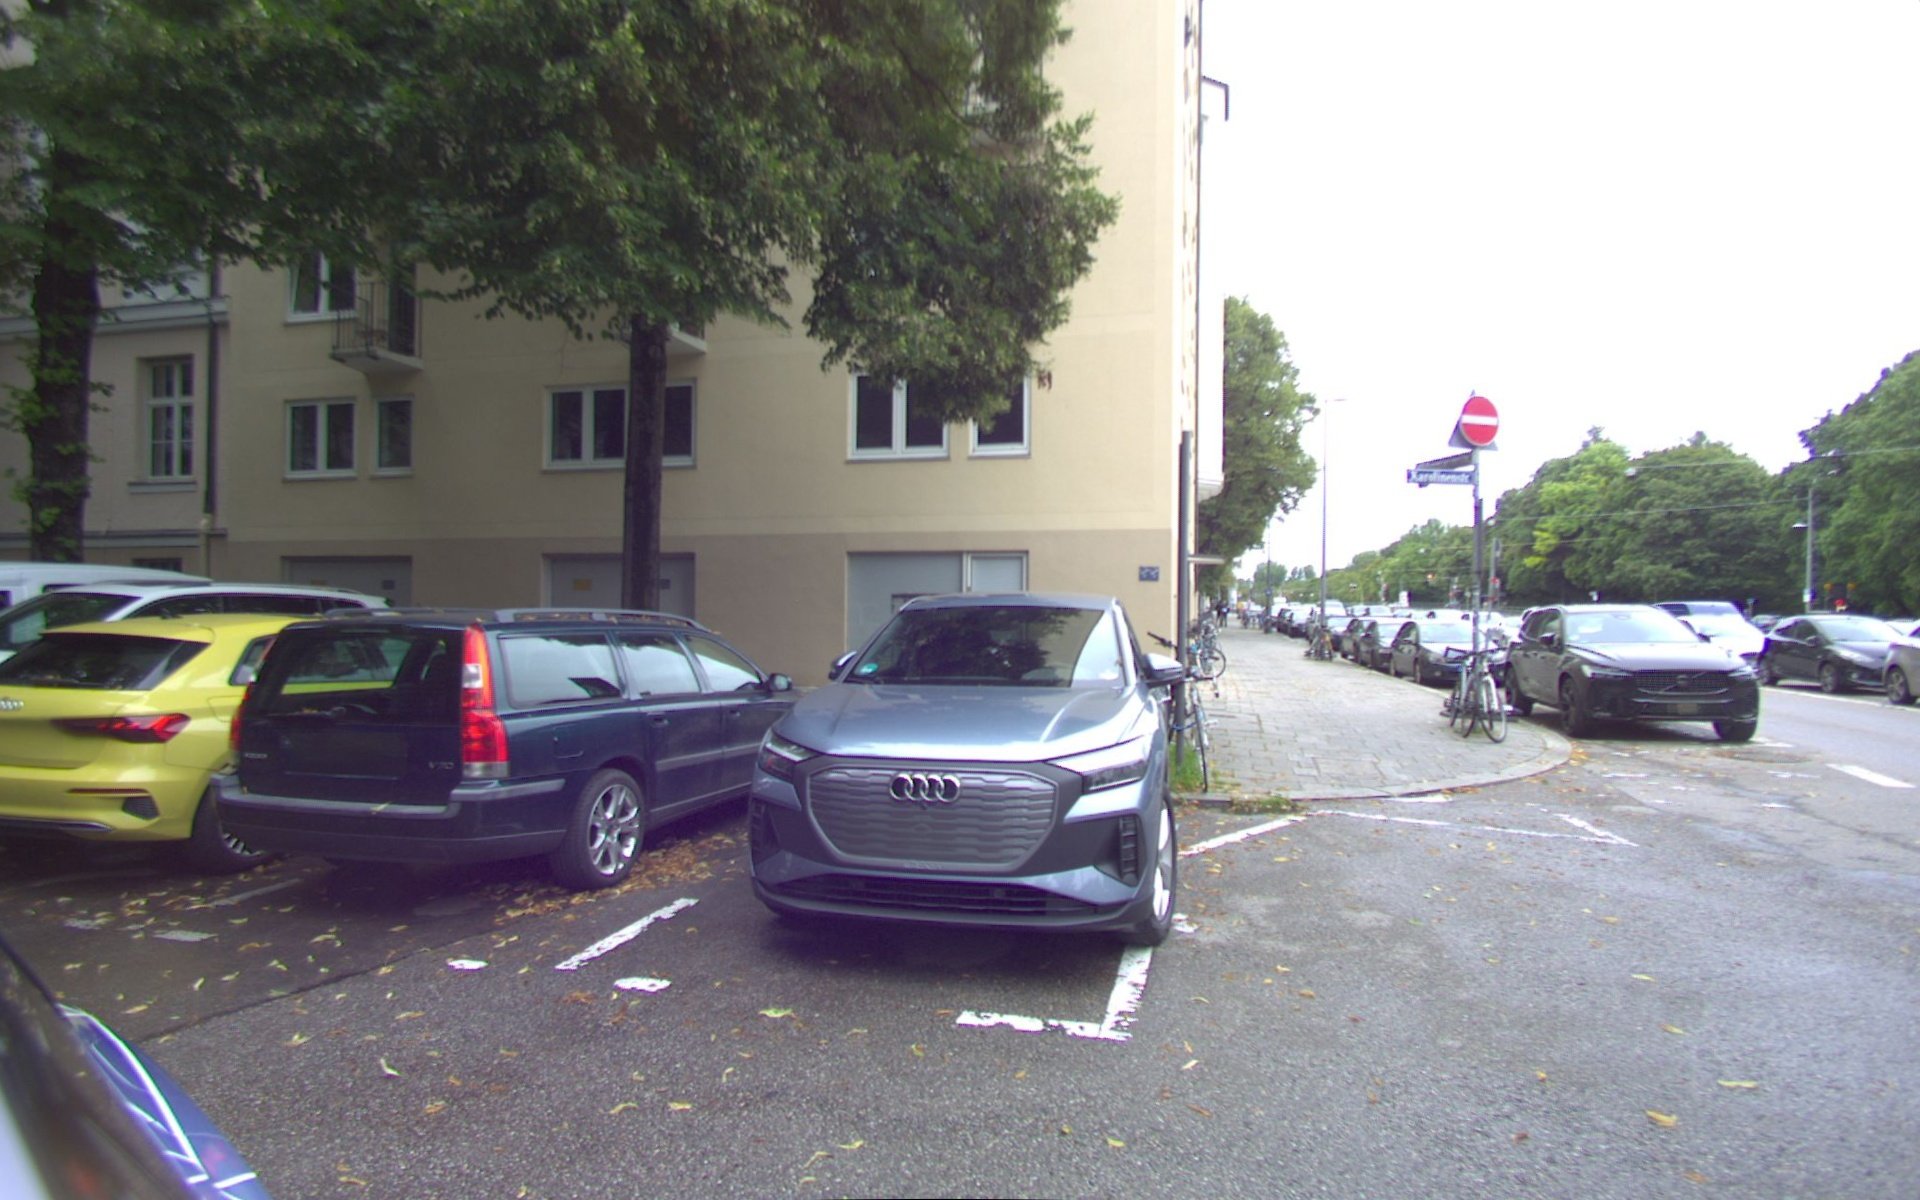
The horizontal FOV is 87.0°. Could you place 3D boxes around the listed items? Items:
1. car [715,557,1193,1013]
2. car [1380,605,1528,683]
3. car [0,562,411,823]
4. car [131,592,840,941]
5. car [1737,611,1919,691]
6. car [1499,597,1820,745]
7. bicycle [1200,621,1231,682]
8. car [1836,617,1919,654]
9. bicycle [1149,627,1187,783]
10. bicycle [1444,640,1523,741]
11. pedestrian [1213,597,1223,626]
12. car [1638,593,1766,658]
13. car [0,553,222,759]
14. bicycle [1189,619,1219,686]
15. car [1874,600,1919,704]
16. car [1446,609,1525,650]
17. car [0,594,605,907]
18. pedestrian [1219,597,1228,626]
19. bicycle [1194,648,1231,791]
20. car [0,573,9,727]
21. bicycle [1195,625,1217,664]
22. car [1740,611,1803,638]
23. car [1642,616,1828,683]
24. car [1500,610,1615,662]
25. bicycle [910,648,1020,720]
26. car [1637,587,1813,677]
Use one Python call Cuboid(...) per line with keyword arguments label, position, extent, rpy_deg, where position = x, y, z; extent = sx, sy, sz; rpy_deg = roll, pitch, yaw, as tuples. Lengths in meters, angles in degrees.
Cuboid(label="car", position=(0.390, 0.660, 5.786), extent=(1.808, 1.577, 4.228), rpy_deg=(0, -1, 13))
Cuboid(label="car", position=(10.993, 0.927, 22.914), extent=(2.111, 1.577, 4.486), rpy_deg=(-1, -1, 15))
Cuboid(label="car", position=(-6.648, 0.592, 7.853), extent=(1.899, 1.632, 4.228), rpy_deg=(0, -1, 13))
Cuboid(label="car", position=(-2.453, 0.724, 6.598), extent=(2.034, 1.478, 4.228), rpy_deg=(0, -1, 13))
Cuboid(label="car", position=(17.264, 0.918, 19.814), extent=(1.752, 1.380, 4.261), rpy_deg=(0, -1, 15))
Cuboid(label="car", position=(8.769, 0.800, 13.257), extent=(2.112, 1.577, 4.482), rpy_deg=(-1, -1, 17))
Cuboid(label="bicycle", position=(5.152, 1.012, 20.433), extent=(0.396, 1.180, 1.317), rpy_deg=(0, -1, 5))
Cuboid(label="car", position=(38.596, 1.449, 41.991), extent=(1.984, 1.457, 3.975), rpy_deg=(0, -1, 18))
Cuboid(label="bicycle", position=(1.824, 0.866, 8.822), extent=(0.279, 1.240, 1.233), rpy_deg=(0, -1, 13))
Cuboid(label="bicycle", position=(6.096, 1.013, 11.851), extent=(0.629, 1.045, 1.723), rpy_deg=(1, -1, 22))
Cuboid(label="pedestrian", position=(17.727, 0.788, 69.539), extent=(0.451, 2.029, 0.619), rpy_deg=(1, -1, -2))
Cuboid(label="car", position=(30.459, 0.956, 41.793), extent=(2.170, 2.482, 5.825), rpy_deg=(0, 0, 14))
Cuboid(label="car", position=(-9.163, 0.474, 8.803), extent=(1.900, 1.764, 4.226), rpy_deg=(0, -1, 14))
Cuboid(label="bicycle", position=(4.526, 0.955, 18.826), extent=(0.359, 1.180, 1.317), rpy_deg=(0, -1, 5))
Cuboid(label="car", position=(15.286, 0.778, 14.144), extent=(1.975, 1.577, 4.261), rpy_deg=(0, -1, 15))
Cuboid(label="car", position=(23.559, 1.310, 45.537), extent=(2.055, 1.715, 4.540), rpy_deg=(0, -1, 13))
Cuboid(label="car", position=(-4.514, 0.729, 7.074), extent=(1.899, 1.478, 4.228), rpy_deg=(0, -1, 13))
Cuboid(label="pedestrian", position=(18.363, 0.790, 70.450), extent=(0.451, 2.029, 0.619), rpy_deg=(1, -1, -2))
Cuboid(label="bicycle", position=(2.125, 0.961, 8.548), extent=(0.279, 1.069, 1.233), rpy_deg=(0, -1, 13))
Cuboid(label="car", position=(-11.477, 0.501, 8.884), extent=(1.900, 1.611, 4.226), rpy_deg=(0, -1, 14))
Cuboid(label="bicycle", position=(6.639, 1.200, 27.352), extent=(0.458, 1.012, 1.315), rpy_deg=(0, -1, 8))
Cuboid(label="car", position=(54.677, 1.622, 68.267), extent=(1.850, 1.759, 3.980), rpy_deg=(0, -1, 15))
Cuboid(label="car", position=(18.737, 1.131, 24.740), extent=(1.974, 1.467, 4.265), rpy_deg=(0, -1, 13))
Cuboid(label="car", position=(21.171, 1.219, 36.129), extent=(2.055, 1.715, 5.069), rpy_deg=(0, -1, 13))
Cuboid(label="bicycle", position=(0.053, 0.880, 10.685), extent=(1.139, 0.713, 0.281), rpy_deg=(0, -1, 14))
Cuboid(label="car", position=(18.798, 0.740, 25.127), extent=(1.980, 2.029, 3.984), rpy_deg=(0, -1, 12))
